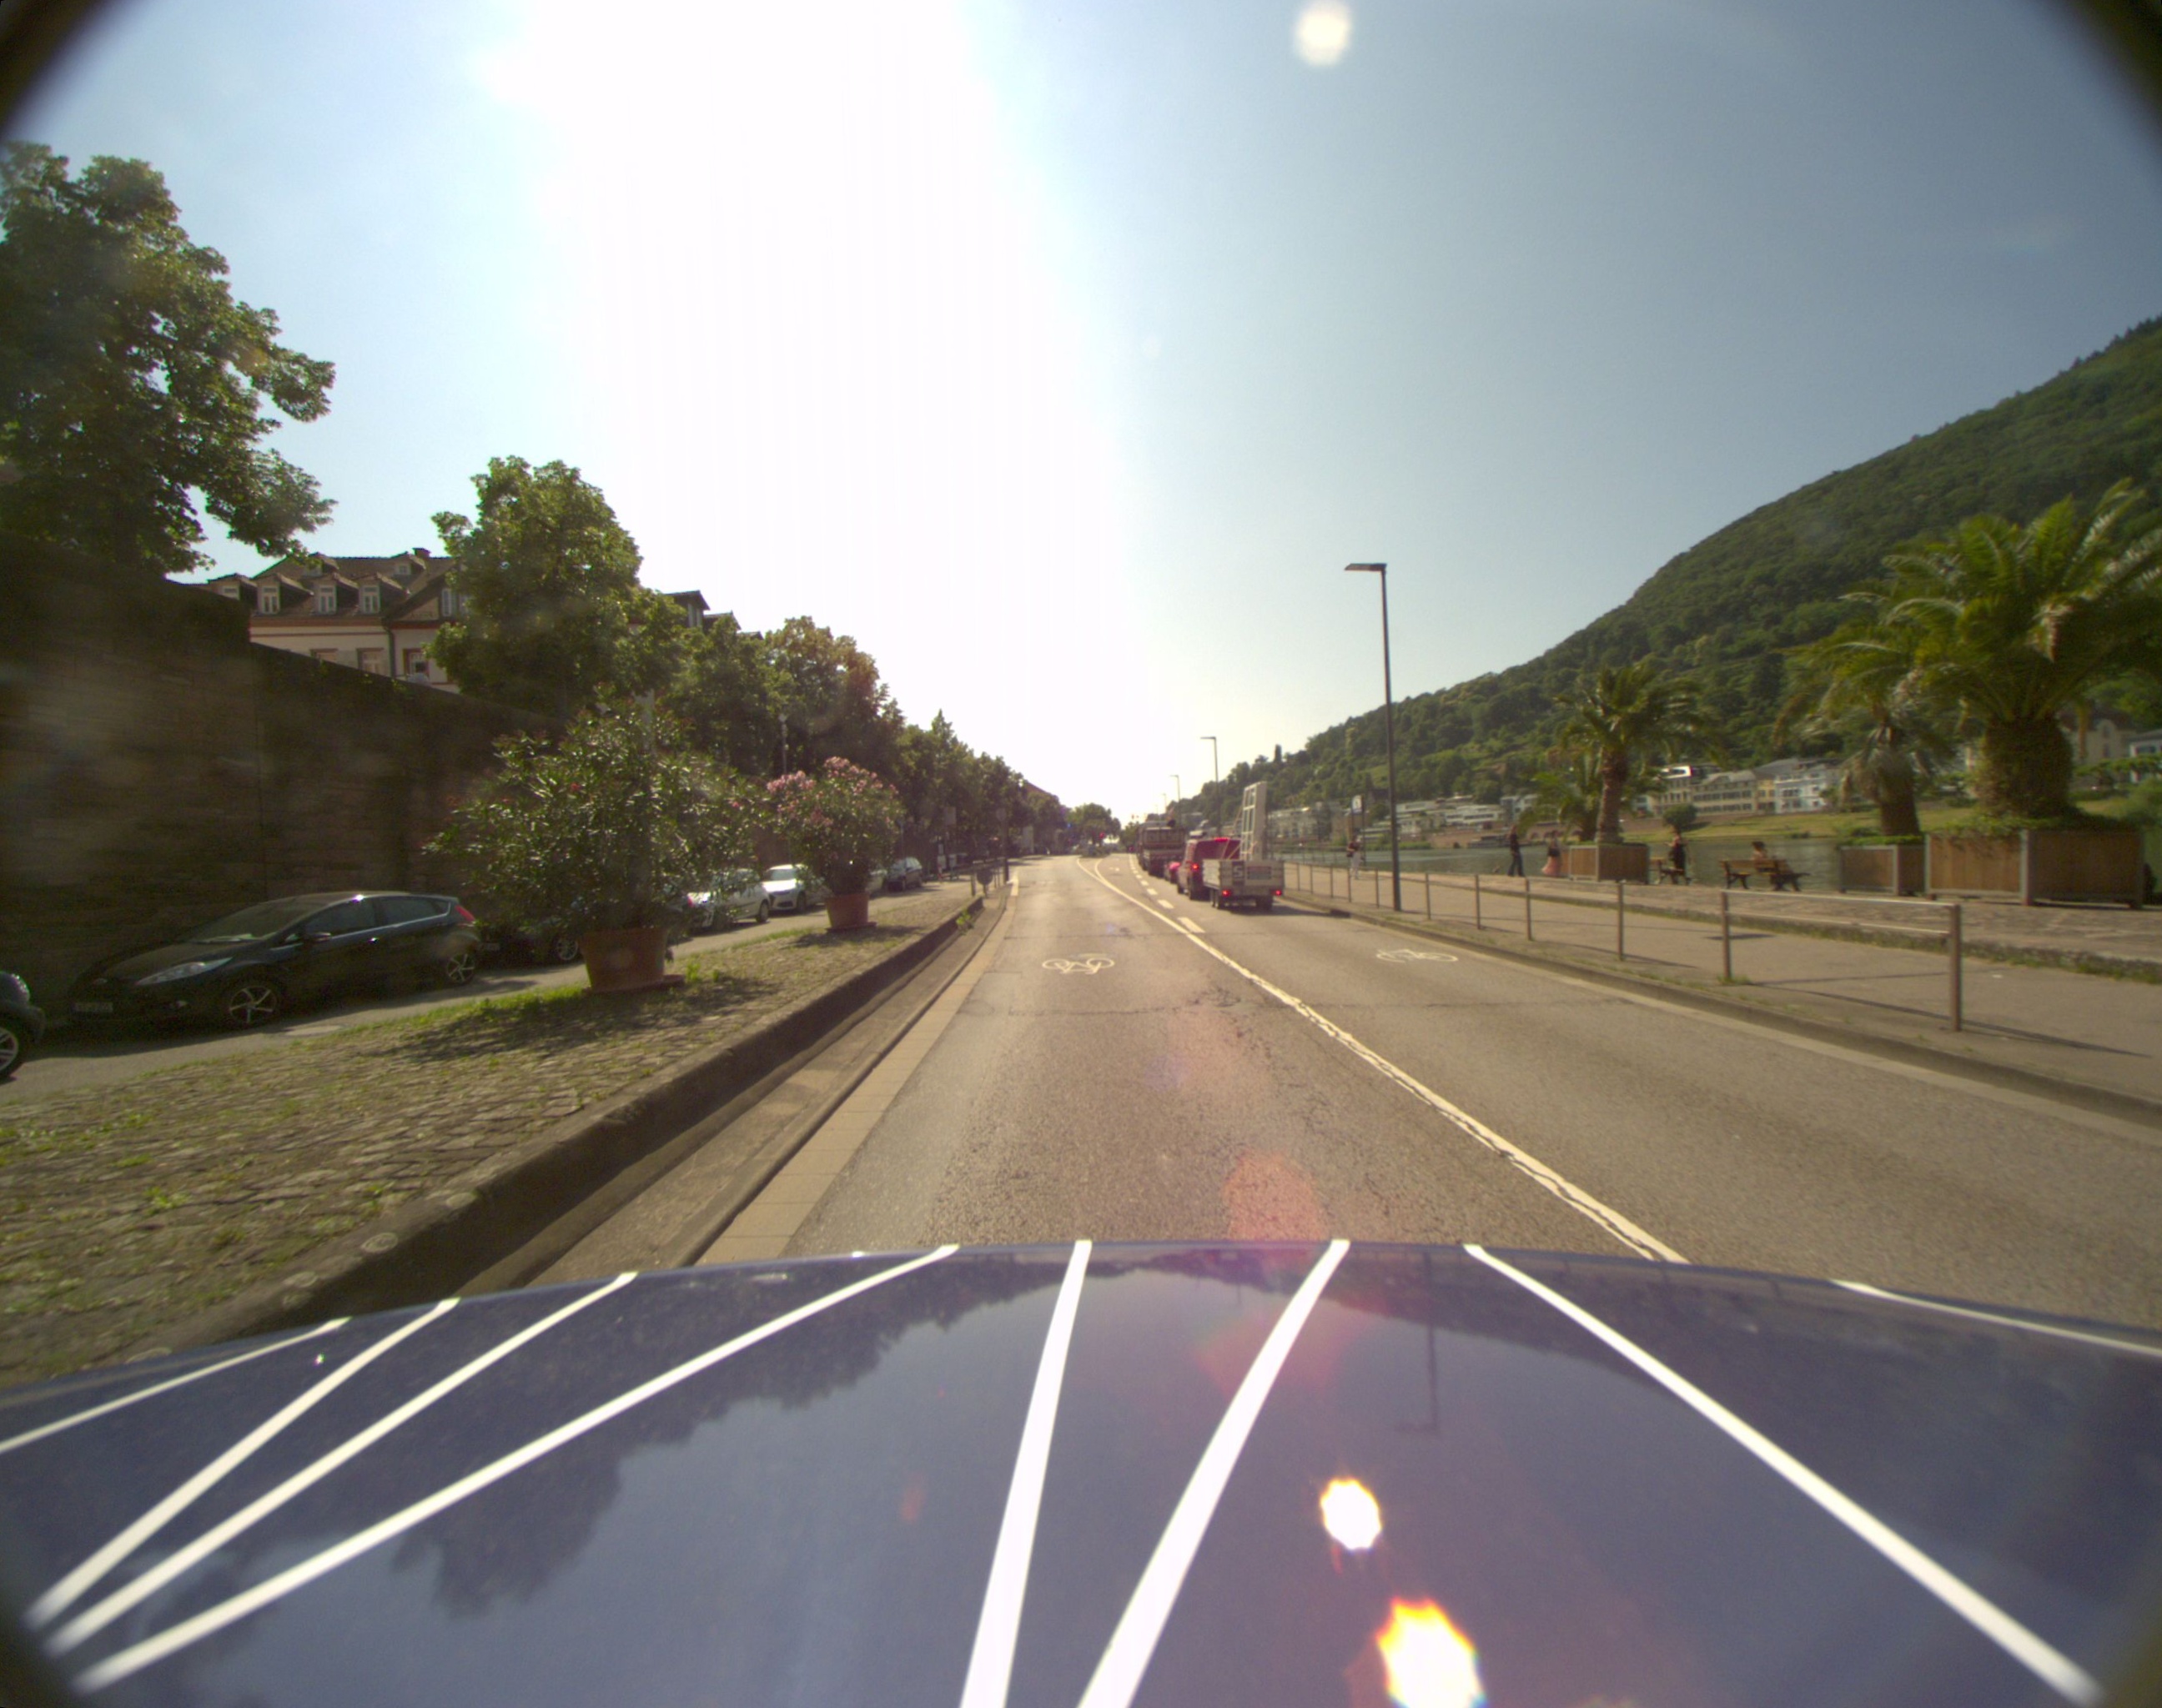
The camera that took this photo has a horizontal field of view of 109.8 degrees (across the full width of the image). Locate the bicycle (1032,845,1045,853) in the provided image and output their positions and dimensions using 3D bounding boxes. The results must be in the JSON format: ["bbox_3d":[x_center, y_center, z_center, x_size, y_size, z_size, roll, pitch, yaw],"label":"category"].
[{"bbox_3d":[-5.816,-0.649,103.394,1.753,1.127,0.464,1,1,-1],"label":"bicycle"}]

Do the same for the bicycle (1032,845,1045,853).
[{"bbox_3d":[-5.848,-0.665,103.801,1.753,1.127,0.464,1,1,-1],"label":"bicycle"}]

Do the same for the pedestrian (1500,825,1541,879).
[{"bbox_3d":[14.247,-0.058,24.620,0.797,1.682,0.844,-3,1,-34],"label":"pedestrian"}]

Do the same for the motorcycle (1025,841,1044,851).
[{"bbox_3d":[-6.150,-1.025,100.684,2.531,1.268,0.725,-1,1,26],"label":"motorcycle"}]

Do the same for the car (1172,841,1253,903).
[{"bbox_3d":[4.151,0.517,24.632,1.879,1.817,4.543,-1,0,1],"label":"car"}]

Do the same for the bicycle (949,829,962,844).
[{"bbox_3d":[-9.408,-1.275,56.938,0.411,1.099,1.735,-1,1,8],"label":"bicycle"}]

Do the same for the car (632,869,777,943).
[{"bbox_3d":[-9.181,1.209,18.881,1.715,1.449,3.547,-2,1,1],"label":"car"}]

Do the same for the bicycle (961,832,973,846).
[{"bbox_3d":[-9.160,-1.222,61.086,0.411,1.099,1.735,-1,1,8],"label":"bicycle"}]

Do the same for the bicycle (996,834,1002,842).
[{"bbox_3d":[-8.139,-1.565,75.238,0.350,0.779,1.919,-1,1,1],"label":"bicycle"}]

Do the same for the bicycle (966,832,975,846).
[{"bbox_3d":[-9.762,-1.318,67.120,0.383,1.133,1.934,-1,0,2],"label":"bicycle"}]

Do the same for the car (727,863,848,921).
[{"bbox_3d":[-9.028,1.105,23.883,1.758,1.424,4.756,-2,1,2],"label":"car"}]

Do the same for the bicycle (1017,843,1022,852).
[{"bbox_3d":[-7.163,-0.787,88.572,0.301,1.043,2.163,0,0,4],"label":"bicycle"}]

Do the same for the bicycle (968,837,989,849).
[{"bbox_3d":[-9.345,-0.991,69.148,1.858,0.999,0.299,-1,1,0],"label":"bicycle"}]

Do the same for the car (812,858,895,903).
[{"bbox_3d":[-8.509,0.953,28.750,1.615,1.405,3.904,-2,1,5],"label":"car"}]

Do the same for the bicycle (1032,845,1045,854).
[{"bbox_3d":[-5.773,-0.638,102.835,1.753,1.127,0.540,1,1,-3],"label":"bicycle"}]

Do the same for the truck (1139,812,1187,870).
[{"bbox_3d":[5.191,-0.871,49.254,2.648,3.437,7.870,0,1,3],"label":"truck"}]

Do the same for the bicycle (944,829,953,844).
[{"bbox_3d":[-9.583,-1.275,54.967,0.411,1.099,1.733,-1,1,-4],"label":"bicycle"}]

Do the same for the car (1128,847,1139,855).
[{"bbox_3d":[10.717,-0.689,154.905,1.998,1.444,4.261,-3,1,2],"label":"car"}]

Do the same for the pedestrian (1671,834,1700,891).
[{"bbox_3d":[17.239,0.238,21.675,0.593,1.592,0.681,-2,1,39],"label":"pedestrian"}]

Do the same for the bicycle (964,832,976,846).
[{"bbox_3d":[-9.153,-1.246,62.780,0.411,1.099,1.925,-1,1,8],"label":"bicycle"}]

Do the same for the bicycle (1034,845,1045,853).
[{"bbox_3d":[-5.811,-0.691,106.564,1.631,1.163,0.350,1,1,-1],"label":"bicycle"}]

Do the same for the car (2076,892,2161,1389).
[{"bbox_3d":[3.897,0.846,0.521,1.538,1.428,3.727,0,1,0],"label":"car"}]

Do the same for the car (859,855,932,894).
[{"bbox_3d":[-8.149,0.854,33.750,1.847,1.442,4.534,-2,1,3],"label":"car"}]

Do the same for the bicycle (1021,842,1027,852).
[{"bbox_3d":[-6.943,-0.835,92.842,0.476,1.254,2.162,0,1,1],"label":"bicycle"}]

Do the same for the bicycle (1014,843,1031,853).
[{"bbox_3d":[-7.619,-0.811,99.055,2.160,1.360,0.584,0,1,3],"label":"bicycle"}]

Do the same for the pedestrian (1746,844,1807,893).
[{"bbox_3d":[16.459,0.338,17.995,0.943,1.138,0.507,0,1,5],"label":"pedestrian"}]

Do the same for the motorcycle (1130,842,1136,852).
[{"bbox_3d":[7.416,-0.995,108.736,0.728,1.379,2.512,-1,1,5],"label":"motorcycle"}]

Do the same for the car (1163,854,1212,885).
[{"bbox_3d":[4.654,0.650,33.613,1.675,1.187,3.628,0,1,0],"label":"car"}]

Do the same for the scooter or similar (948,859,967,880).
[{"bbox_3d":[-6.772,0.819,41.678,0.532,1.083,1.440,-1,1,12],"label":"scooter or similar"}]

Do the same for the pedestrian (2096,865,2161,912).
[{"bbox_3d":[17.942,0.577,12.852,0.697,0.738,0.603,-2,1,5],"label":"pedestrian"}]

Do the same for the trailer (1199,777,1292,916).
[{"bbox_3d":[4.207,-0.196,19.866,1.746,3.301,3.383,0,1,1],"label":"trailer"}]

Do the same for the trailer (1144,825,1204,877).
[{"bbox_3d":[4.842,-0.232,40.763,2.704,2.516,6.946,0,2,3],"label":"trailer"}]

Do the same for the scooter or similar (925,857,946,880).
[{"bbox_3d":[-7.827,0.775,40.956,0.532,1.223,1.272,-1,2,17],"label":"scooter or similar"}]

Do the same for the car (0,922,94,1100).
[{"bbox_3d":[-10.561,1.464,5.440,1.594,1.512,3.905,-2,1,9],"label":"car"}]

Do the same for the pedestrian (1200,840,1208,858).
[{"bbox_3d":[11.949,-0.488,73.955,0.713,1.697,0.845,-2,1,5],"label":"pedestrian"}]

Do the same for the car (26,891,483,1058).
[{"bbox_3d":[-10.053,1.355,9.727,1.498,1.476,3.717,-2,1,7],"label":"car"}]

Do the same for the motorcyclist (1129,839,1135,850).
[{"bbox_3d":[7.297,-1.396,108.346,0.703,1.518,0.861,-1,1,5],"label":"motorcyclist"}]

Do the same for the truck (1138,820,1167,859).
[{"bbox_3d":[7.000,-1.417,75.340,2.648,3.456,11.108,-1,1,4],"label":"truck"}]

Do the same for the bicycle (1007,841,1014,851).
[{"bbox_3d":[-7.653,-0.851,82.154,0.345,1.106,1.919,-1,1,7],"label":"bicycle"}]

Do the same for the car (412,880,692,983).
[{"bbox_3d":[-9.534,1.303,14.245,1.714,1.380,4.409,-1,1,8],"label":"car"}]

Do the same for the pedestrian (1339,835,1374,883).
[{"bbox_3d":[9.993,0.162,27.609,0.818,1.691,1.151,-2,1,1],"label":"pedestrian"}]

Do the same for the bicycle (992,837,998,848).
[{"bbox_3d":[-8.208,-1.072,72.701,0.299,0.999,1.941,-1,0,2],"label":"bicycle"}]

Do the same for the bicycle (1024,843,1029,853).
[{"bbox_3d":[-6.808,-0.767,95.099,0.476,1.254,2.162,0,1,1],"label":"bicycle"}]

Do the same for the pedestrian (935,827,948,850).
[{"bbox_3d":[-10.676,-1.165,58.131,0.720,1.711,0.711,-1,1,3],"label":"pedestrian"}]
